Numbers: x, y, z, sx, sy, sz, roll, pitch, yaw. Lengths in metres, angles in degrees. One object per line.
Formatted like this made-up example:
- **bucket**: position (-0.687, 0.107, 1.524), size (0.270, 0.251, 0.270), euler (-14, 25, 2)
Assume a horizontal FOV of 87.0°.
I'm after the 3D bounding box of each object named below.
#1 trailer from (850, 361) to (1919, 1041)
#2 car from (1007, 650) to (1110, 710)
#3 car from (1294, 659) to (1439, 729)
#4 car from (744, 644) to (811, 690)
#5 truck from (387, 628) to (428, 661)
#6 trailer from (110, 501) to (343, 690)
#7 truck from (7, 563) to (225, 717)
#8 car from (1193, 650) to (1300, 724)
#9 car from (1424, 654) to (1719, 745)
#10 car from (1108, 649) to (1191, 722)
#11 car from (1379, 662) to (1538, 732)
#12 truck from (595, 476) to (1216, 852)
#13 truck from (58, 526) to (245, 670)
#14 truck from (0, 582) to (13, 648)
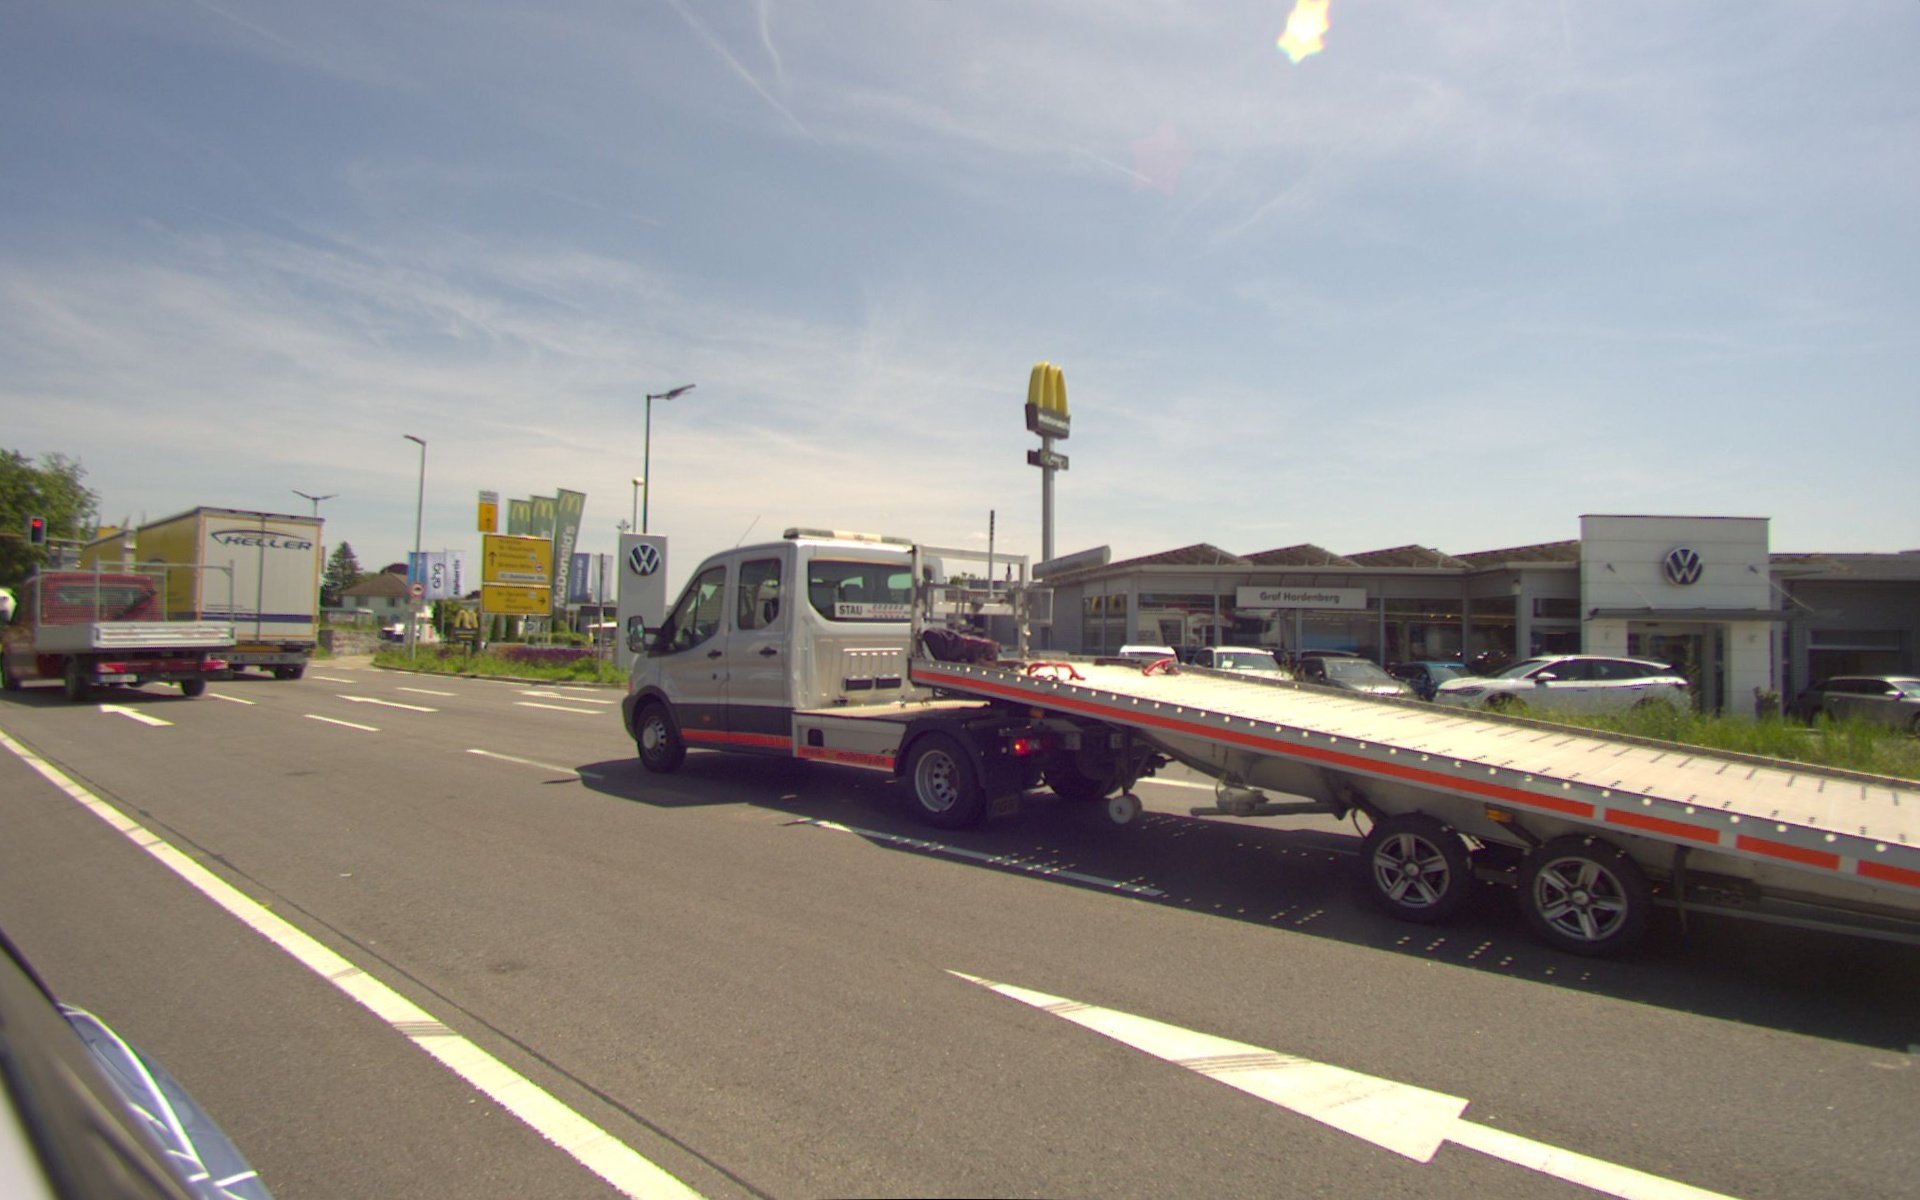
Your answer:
- **trailer**: position (2.521, 0.435, 5.977), size (6.898, 2.356, 2.401), euler (-1, -4, 44)
- **car**: position (2.622, 2.154, 28.001), size (1.586, 1.490, 4.113), euler (2, -3, -13)
- **car**: position (9.393, 2.133, 23.783), size (1.798, 1.421, 4.169), euler (1, -3, 2)
- **car**: position (-6.452, 2.313, 35.501), size (2.092, 1.490, 4.010), euler (2, -3, -13)
- **truck**: position (-57.898, 4.711, 106.163), size (2.951, 3.245, 9.644), euler (3, -3, -24)
- **trailer**: position (-20.171, 0.015, 27.491), size (10.055, 4.319, 2.979), euler (-1, -3, 42)
- **truck**: position (-16.333, 0.669, 19.398), size (6.872, 2.463, 2.370), euler (-1, -1, 43)
- **car**: position (6.752, 2.008, 24.238), size (1.801, 1.586, 3.992), euler (1, -3, 6)
- **car**: position (11.931, 1.912, 20.019), size (4.619, 1.586, 1.820), euler (1, -3, 5)
- **car**: position (4.558, 2.002, 24.639), size (1.803, 1.557, 4.127), euler (1, -3, 10)
- **car**: position (11.746, 2.235, 24.182), size (1.798, 1.421, 4.169), euler (1, -3, 2)
- **truck**: position (-0.814, 0.514, 9.219), size (5.676, 2.358, 2.398), euler (-2, -4, 44)
- **truck**: position (-27.046, 0.077, 33.590), size (10.350, 4.136, 2.997), euler (-1, -3, 41)
- **truck**: position (-65.532, 1.043, 66.831), size (15.118, 4.049, 2.578), euler (-1, -2, 40)
